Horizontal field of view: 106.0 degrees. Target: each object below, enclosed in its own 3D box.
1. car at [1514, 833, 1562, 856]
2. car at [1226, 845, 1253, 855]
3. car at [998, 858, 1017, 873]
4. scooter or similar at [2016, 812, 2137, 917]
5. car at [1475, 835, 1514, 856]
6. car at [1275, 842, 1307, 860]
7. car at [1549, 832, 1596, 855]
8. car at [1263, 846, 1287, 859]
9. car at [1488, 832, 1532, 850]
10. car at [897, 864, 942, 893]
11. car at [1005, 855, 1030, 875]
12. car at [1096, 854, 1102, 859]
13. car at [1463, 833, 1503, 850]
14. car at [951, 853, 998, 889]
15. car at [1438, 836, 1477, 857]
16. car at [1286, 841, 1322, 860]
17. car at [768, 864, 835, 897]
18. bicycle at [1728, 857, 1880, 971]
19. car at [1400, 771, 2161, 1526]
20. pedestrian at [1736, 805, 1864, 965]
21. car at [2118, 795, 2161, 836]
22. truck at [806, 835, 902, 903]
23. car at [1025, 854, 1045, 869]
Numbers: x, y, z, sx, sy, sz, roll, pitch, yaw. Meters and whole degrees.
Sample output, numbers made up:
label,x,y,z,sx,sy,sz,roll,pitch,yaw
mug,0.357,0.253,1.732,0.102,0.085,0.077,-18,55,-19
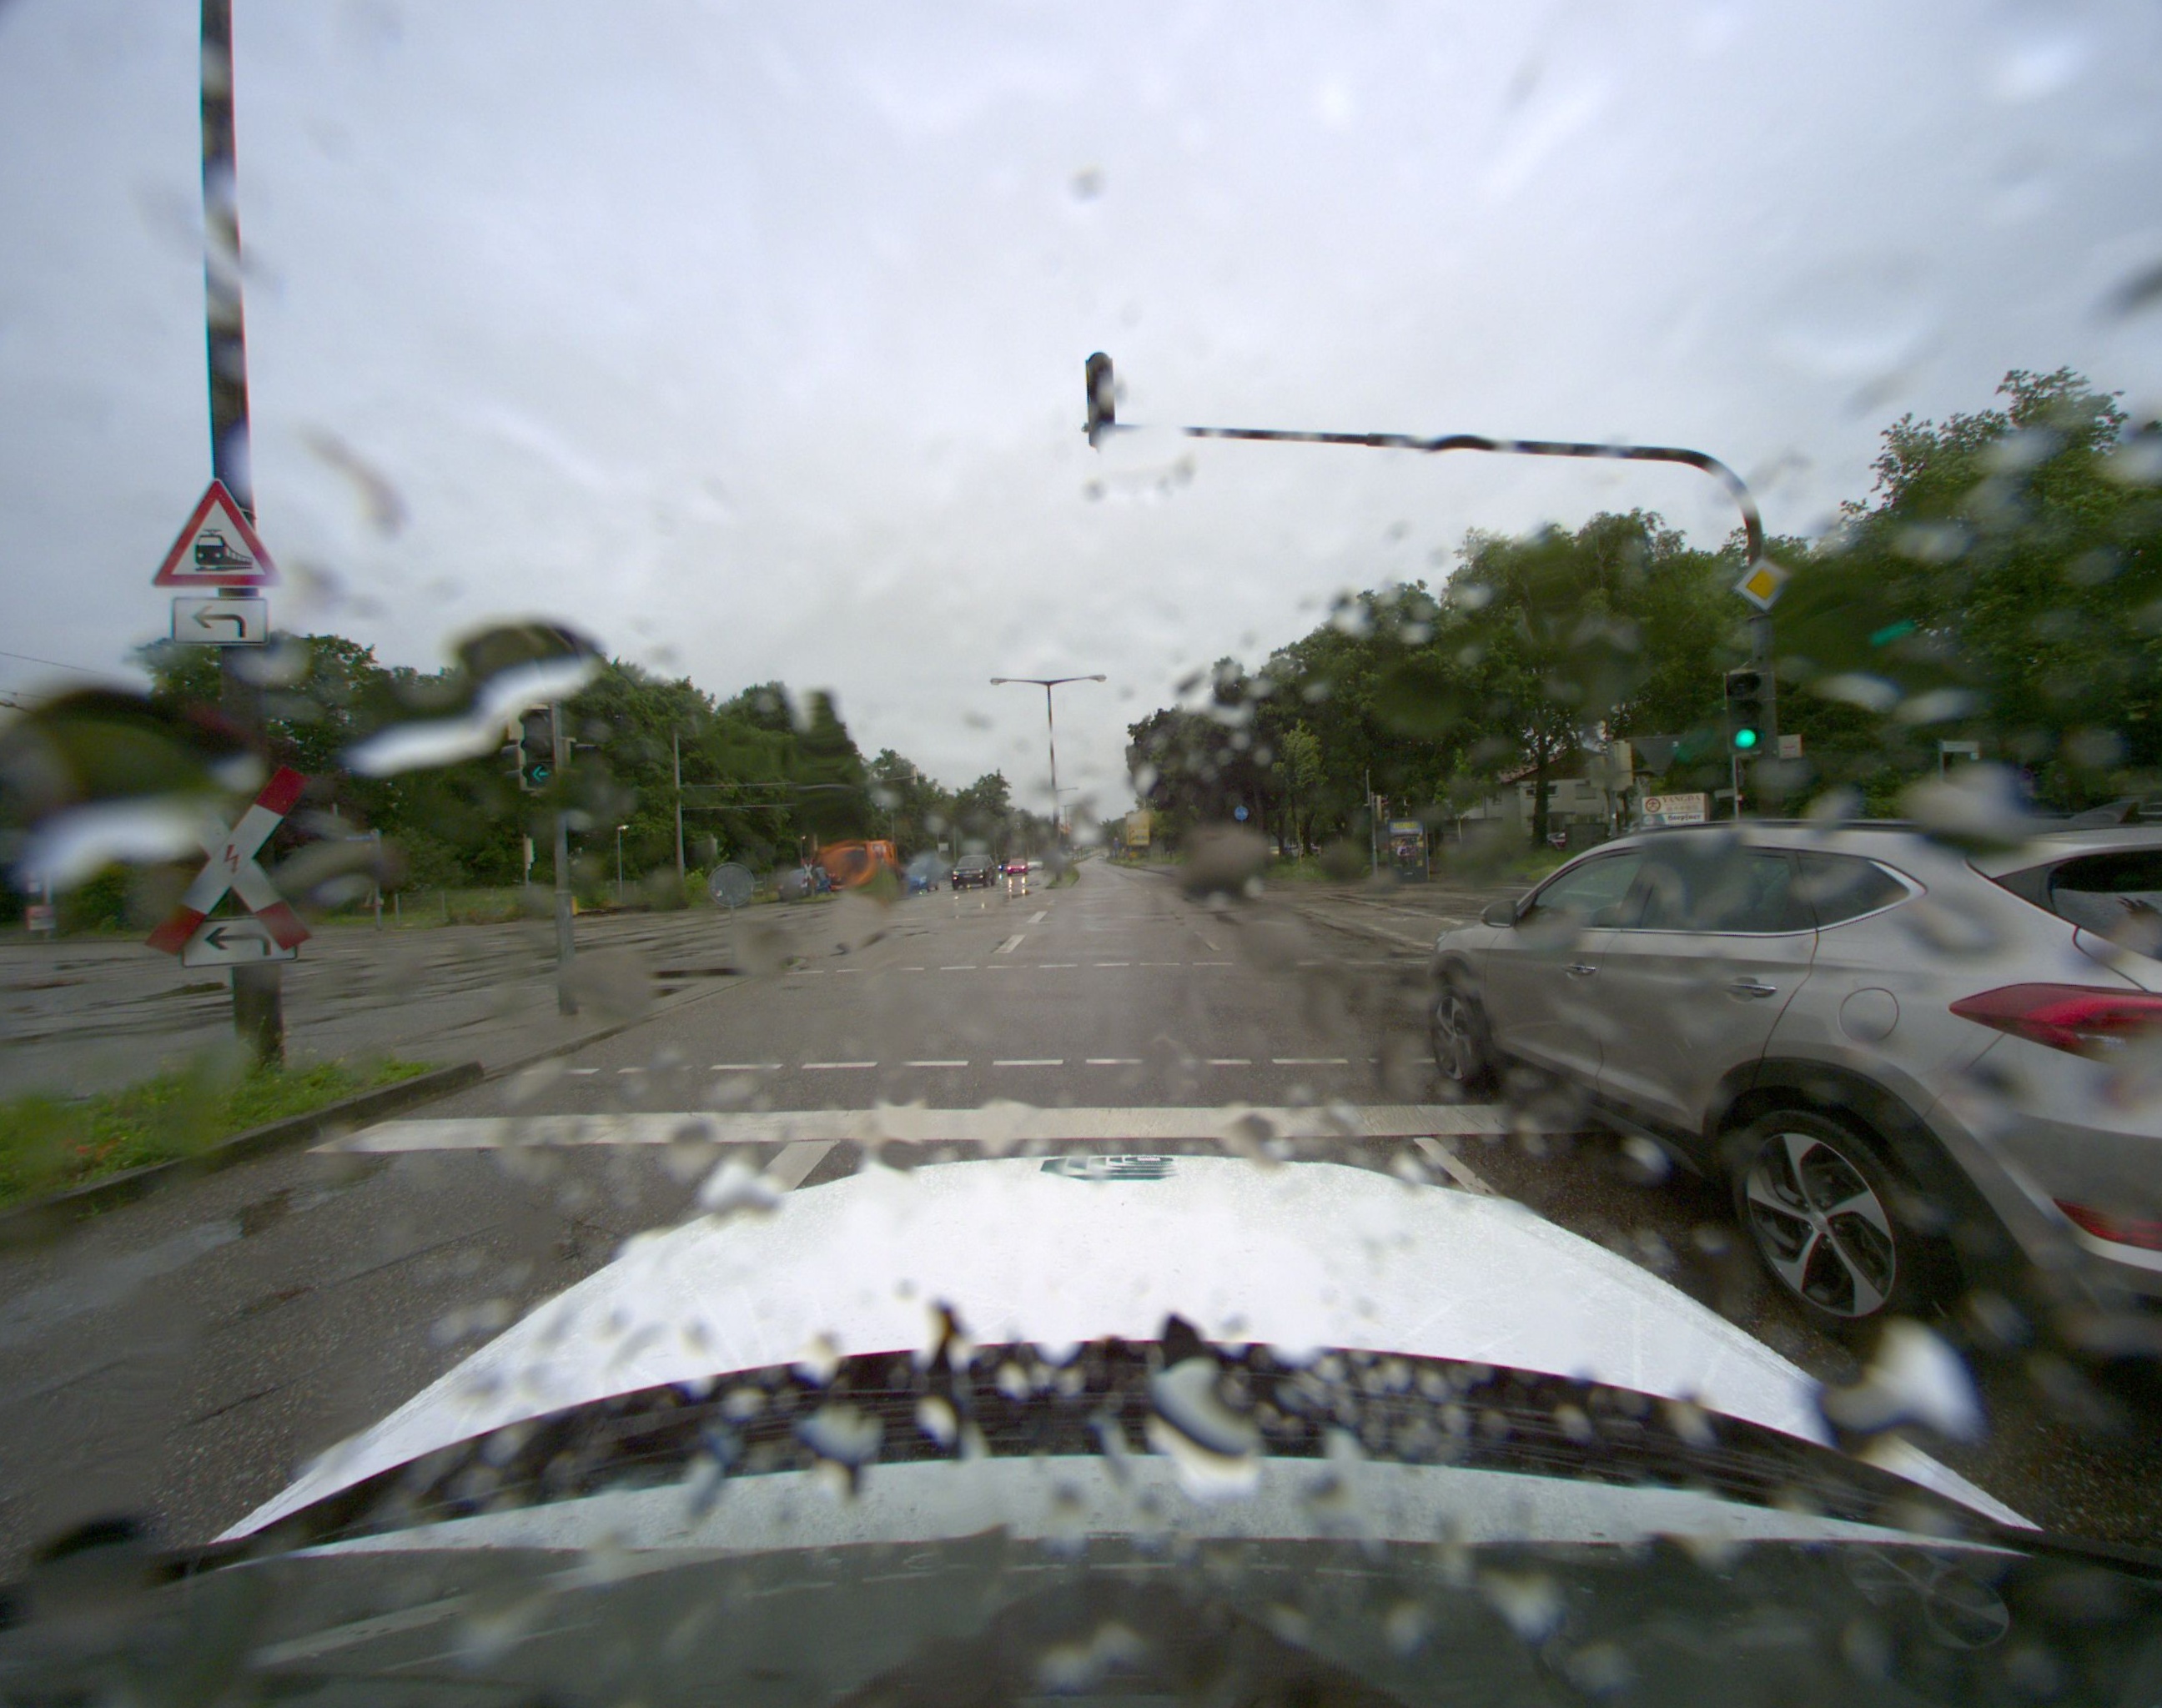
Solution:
label,x,y,z,sx,sy,sz,roll,pitch,yaw
car,30.859,-0.626,54.931,3.772,1.449,1.650,0,-1,-42
car,29.182,-0.745,150.200,4.562,1.645,1.997,-1,-1,-5
car,-9.198,1.410,101.702,1.700,1.641,4.332,-4,0,2
scooter or similar,12.204,0.130,9.996,0.952,1.229,0.322,-3,0,6
car,29.101,-0.577,57.251,1.648,1.449,3.775,-1,-1,40
car,21.961,-0.284,85.352,1.988,1.717,4.639,-3,-1,-1
car,32.372,-0.661,53.595,3.772,1.449,1.584,0,-1,-42
car,22.173,-0.171,93.202,1.632,1.486,4.071,-1,-1,-1
car,36.662,-1.079,69.655,1.579,1.385,3.998,-1,-1,-1
car,-8.951,1.335,45.318,1.636,1.427,3.998,-5,-1,-1
car,-5.749,1.015,74.480,1.795,1.569,4.428,-4,-1,0
car,5.676,0.663,252.856,1.900,1.515,4.002,-2,0,2
car,34.215,-1.083,69.409,1.568,1.316,3.699,-1,-1,-2
car,-5.954,0.913,46.187,1.799,1.773,5.090,-4,0,1
car,27.043,-0.536,58.456,1.648,1.449,3.775,-1,-1,40
car,21.783,-0.331,79.790,1.988,1.717,4.876,-3,-1,-1
car,-15.282,1.395,44.777,1.986,1.709,4.529,-1,-1,2
bicycle,8.174,0.645,9.197,1.671,1.038,0.781,-6,-1,-32
car,3.201,0.624,3.827,1.877,1.610,4.198,-2,-1,2
pedestrian,8.073,0.342,9.157,0.672,1.678,0.781,-6,-1,-32
car,45.211,-1.590,32.963,4.582,1.583,1.921,-1,-1,-7
truck,-15.025,0.975,55.033,3.373,4.167,10.407,-1,-1,1
car,-5.533,0.924,99.001,1.954,1.617,4.698,-3,0,1
